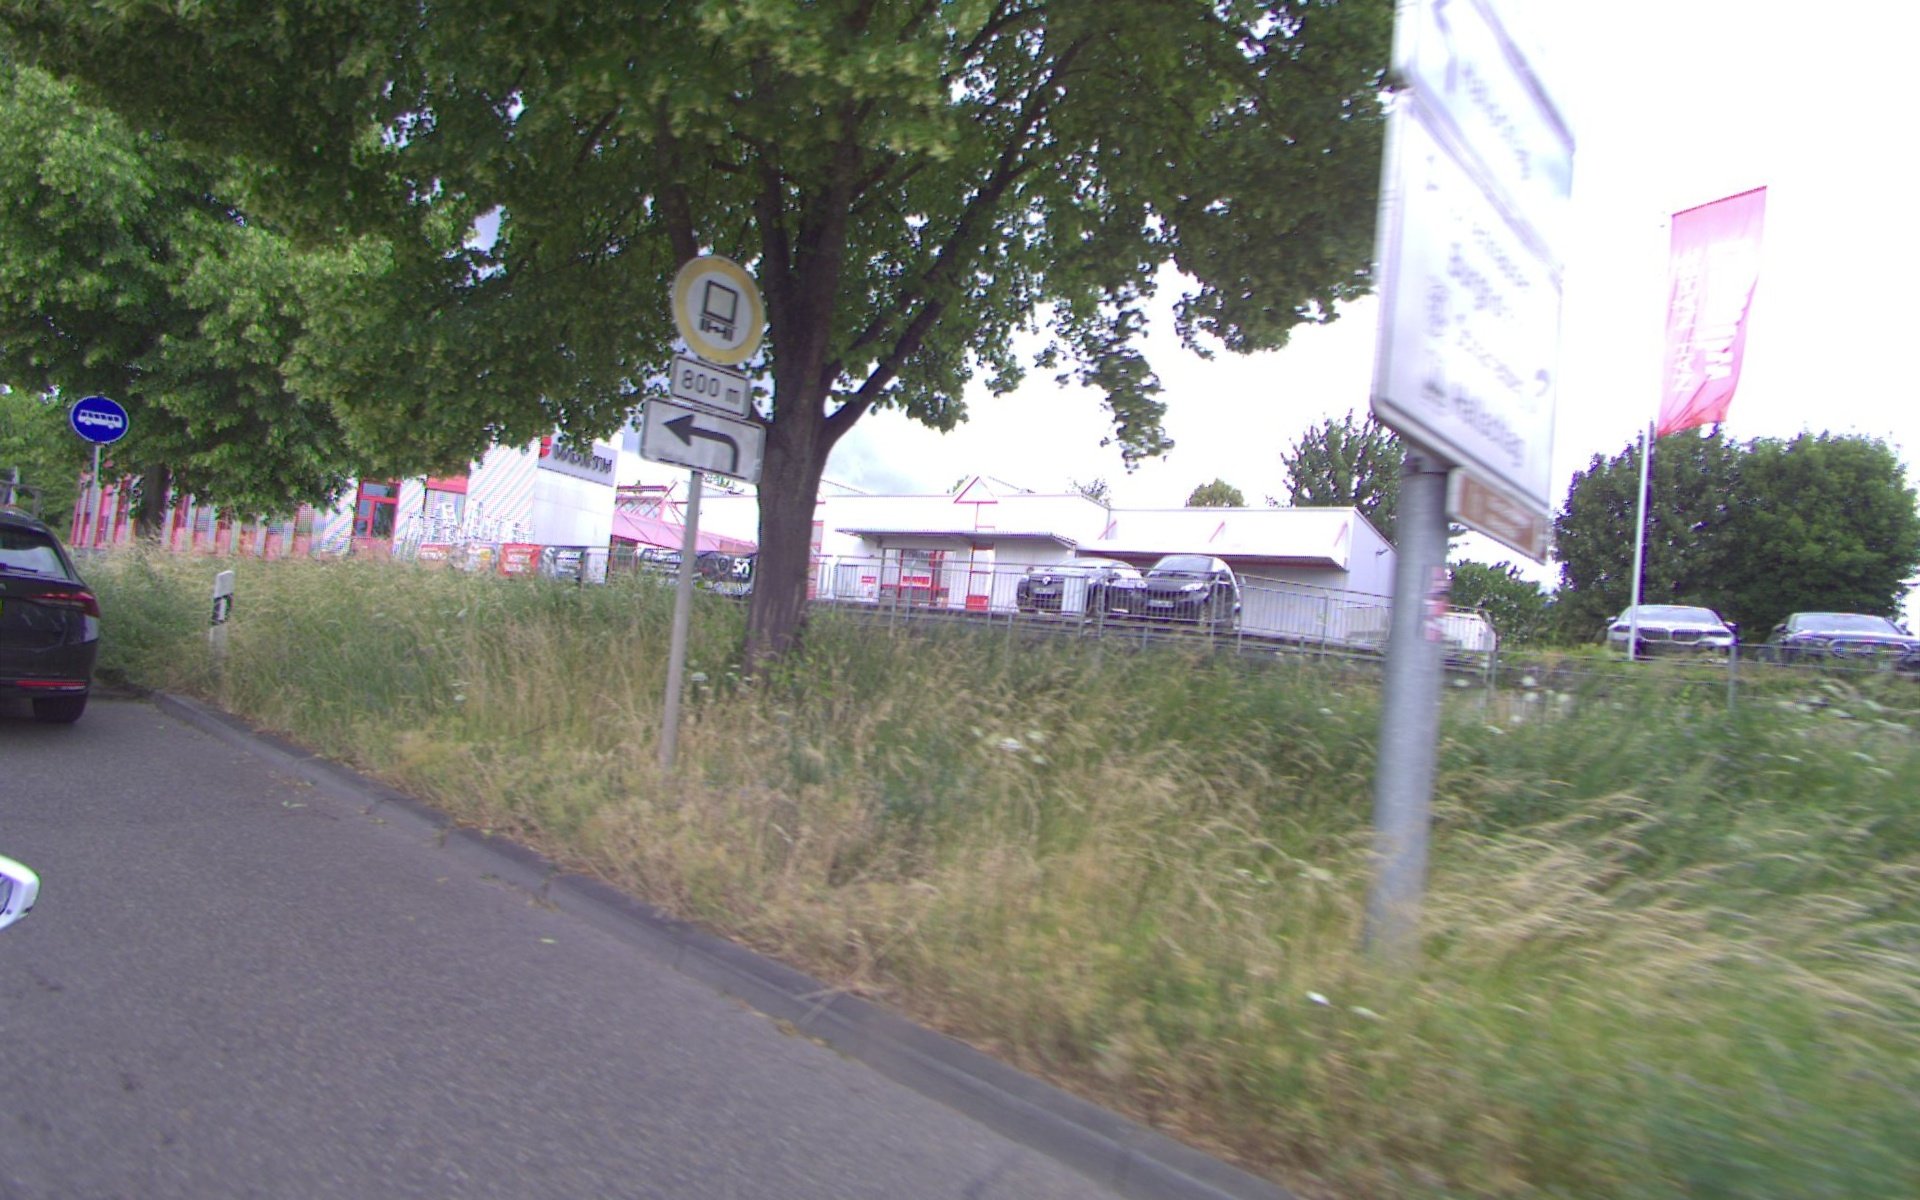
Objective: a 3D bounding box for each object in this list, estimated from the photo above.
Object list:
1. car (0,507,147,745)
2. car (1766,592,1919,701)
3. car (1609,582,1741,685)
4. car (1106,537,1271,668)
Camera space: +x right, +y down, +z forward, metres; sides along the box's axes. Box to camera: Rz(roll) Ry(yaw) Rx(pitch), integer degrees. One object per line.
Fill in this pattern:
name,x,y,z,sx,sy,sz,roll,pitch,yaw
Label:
car,-7.677,-0.018,7.222,4.214,1.449,1.836,5,-2,38
car,15.223,0.863,17.349,1.728,1.383,3.930,6,-3,36
car,13.349,0.671,18.815,1.728,1.379,3.759,7,-3,36
car,4.582,0.107,19.779,1.618,1.980,3.759,7,-3,36
